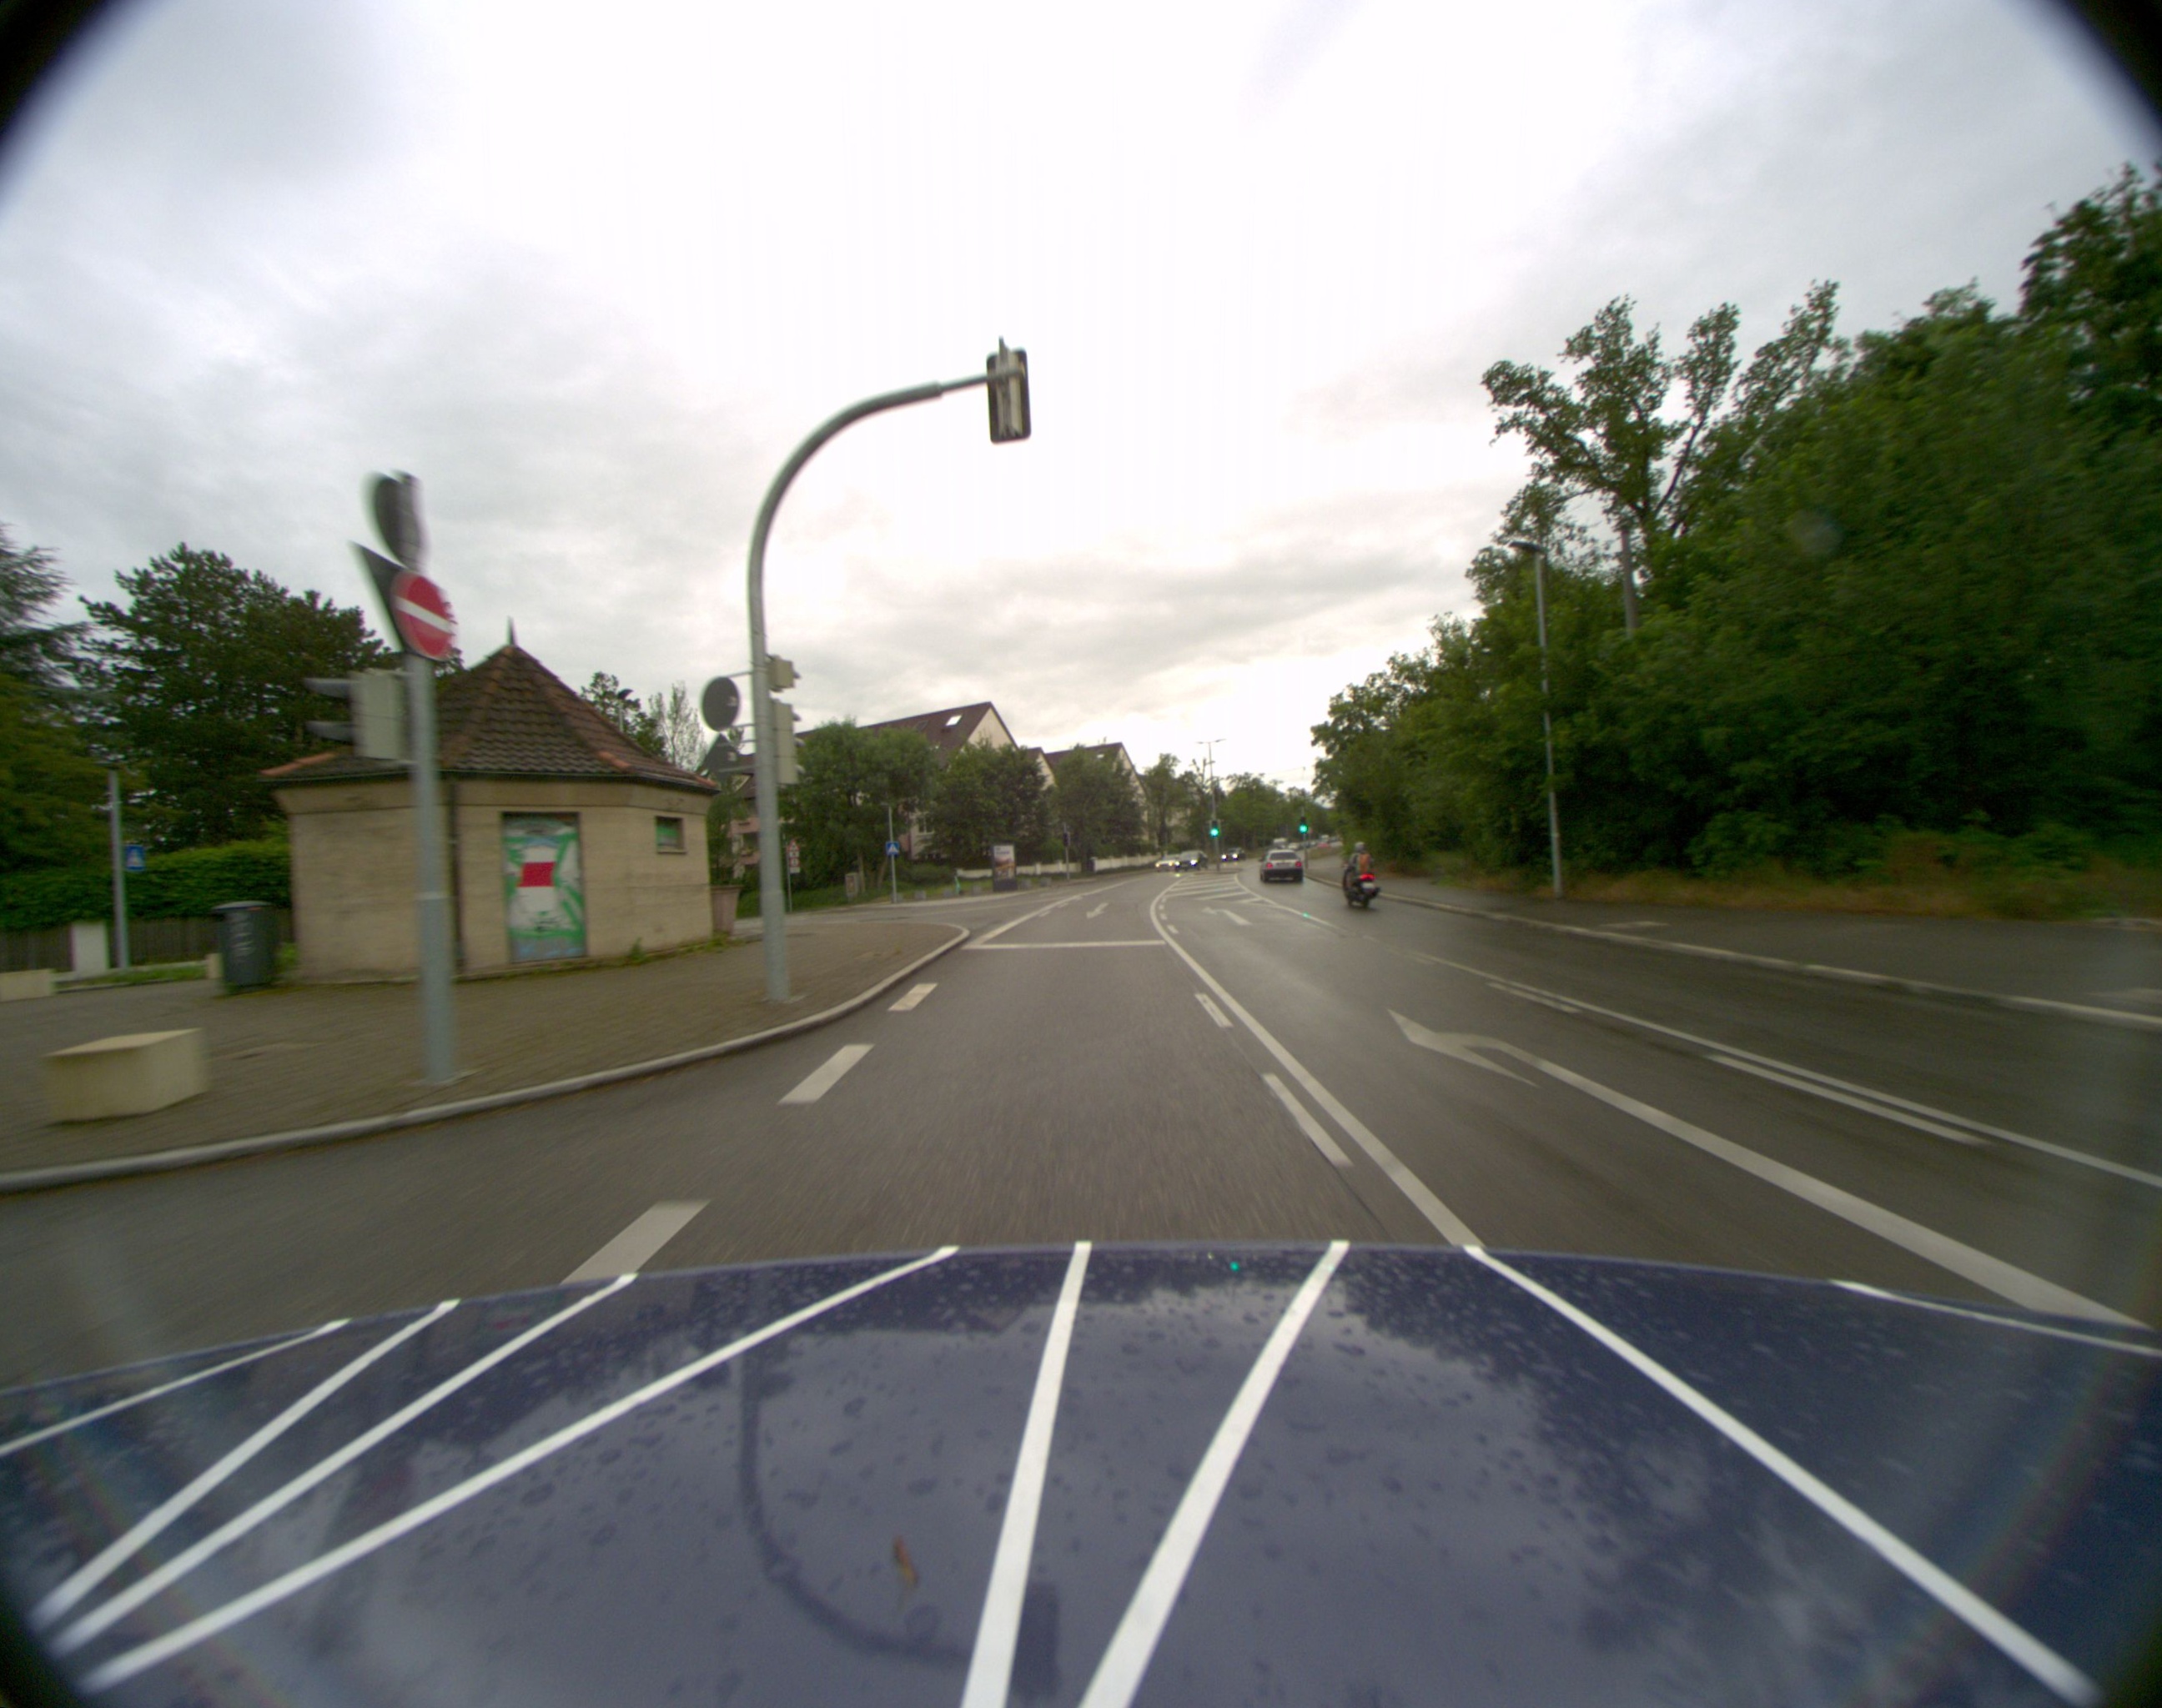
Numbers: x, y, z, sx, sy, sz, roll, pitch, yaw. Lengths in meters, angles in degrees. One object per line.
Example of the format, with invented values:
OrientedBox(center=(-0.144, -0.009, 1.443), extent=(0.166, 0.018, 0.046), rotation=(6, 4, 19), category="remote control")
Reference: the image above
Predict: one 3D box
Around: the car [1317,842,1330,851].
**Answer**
OrientedBox(center=(39.279, -1.224, 123.322), extent=(1.942, 1.368, 4.609), rotation=(-2, 0, 17), category="car")

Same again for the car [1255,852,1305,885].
OrientedBox(center=(8.831, 0.593, 33.978), extent=(1.744, 1.344, 4.212), rotation=(-2, 0, 10), category="car")

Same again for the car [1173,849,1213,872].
OrientedBox(center=(8.096, 0.439, 54.474), extent=(1.942, 1.446, 4.610), rotation=(-2, 0, 19), category="car")

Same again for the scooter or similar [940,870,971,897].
OrientedBox(center=(-6.471, 1.522, 39.218), extent=(1.350, 1.200, 0.525), rotation=(-6, 0, 14), category="scooter or similar")

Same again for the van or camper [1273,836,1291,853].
OrientedBox(center=(32.582, -1.544, 123.108), extent=(1.996, 2.438, 4.728), rotation=(-4, 0, 23), category="van or camper")

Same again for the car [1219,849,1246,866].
OrientedBox(center=(15.917, 0.311, 79.639), extent=(1.942, 1.594, 4.610), rotation=(-2, 0, 21), category="car")

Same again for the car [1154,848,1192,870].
OrientedBox(center=(7.582, 0.408, 62.186), extent=(1.942, 1.594, 4.610), rotation=(-2, 0, 21), category="car")

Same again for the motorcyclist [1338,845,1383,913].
OrientedBox(center=(6.877, 0.598, 18.748), extent=(0.747, 1.622, 0.927), rotation=(-2, 0, 2), category="motorcyclist")

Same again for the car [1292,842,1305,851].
OrientedBox(center=(40.698, -1.344, 141.969), extent=(1.942, 1.594, 4.610), rotation=(-2, 0, 21), category="car")

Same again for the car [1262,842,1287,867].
OrientedBox(center=(14.081, 0.015, 55.123), extent=(1.578, 1.720, 3.779), rotation=(-2, 0, 17), category="car")

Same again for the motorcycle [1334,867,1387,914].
OrientedBox(center=(6.903, 0.877, 18.840), extent=(0.595, 1.044, 1.999), rotation=(-2, 0, 2), category="motorcycle")
